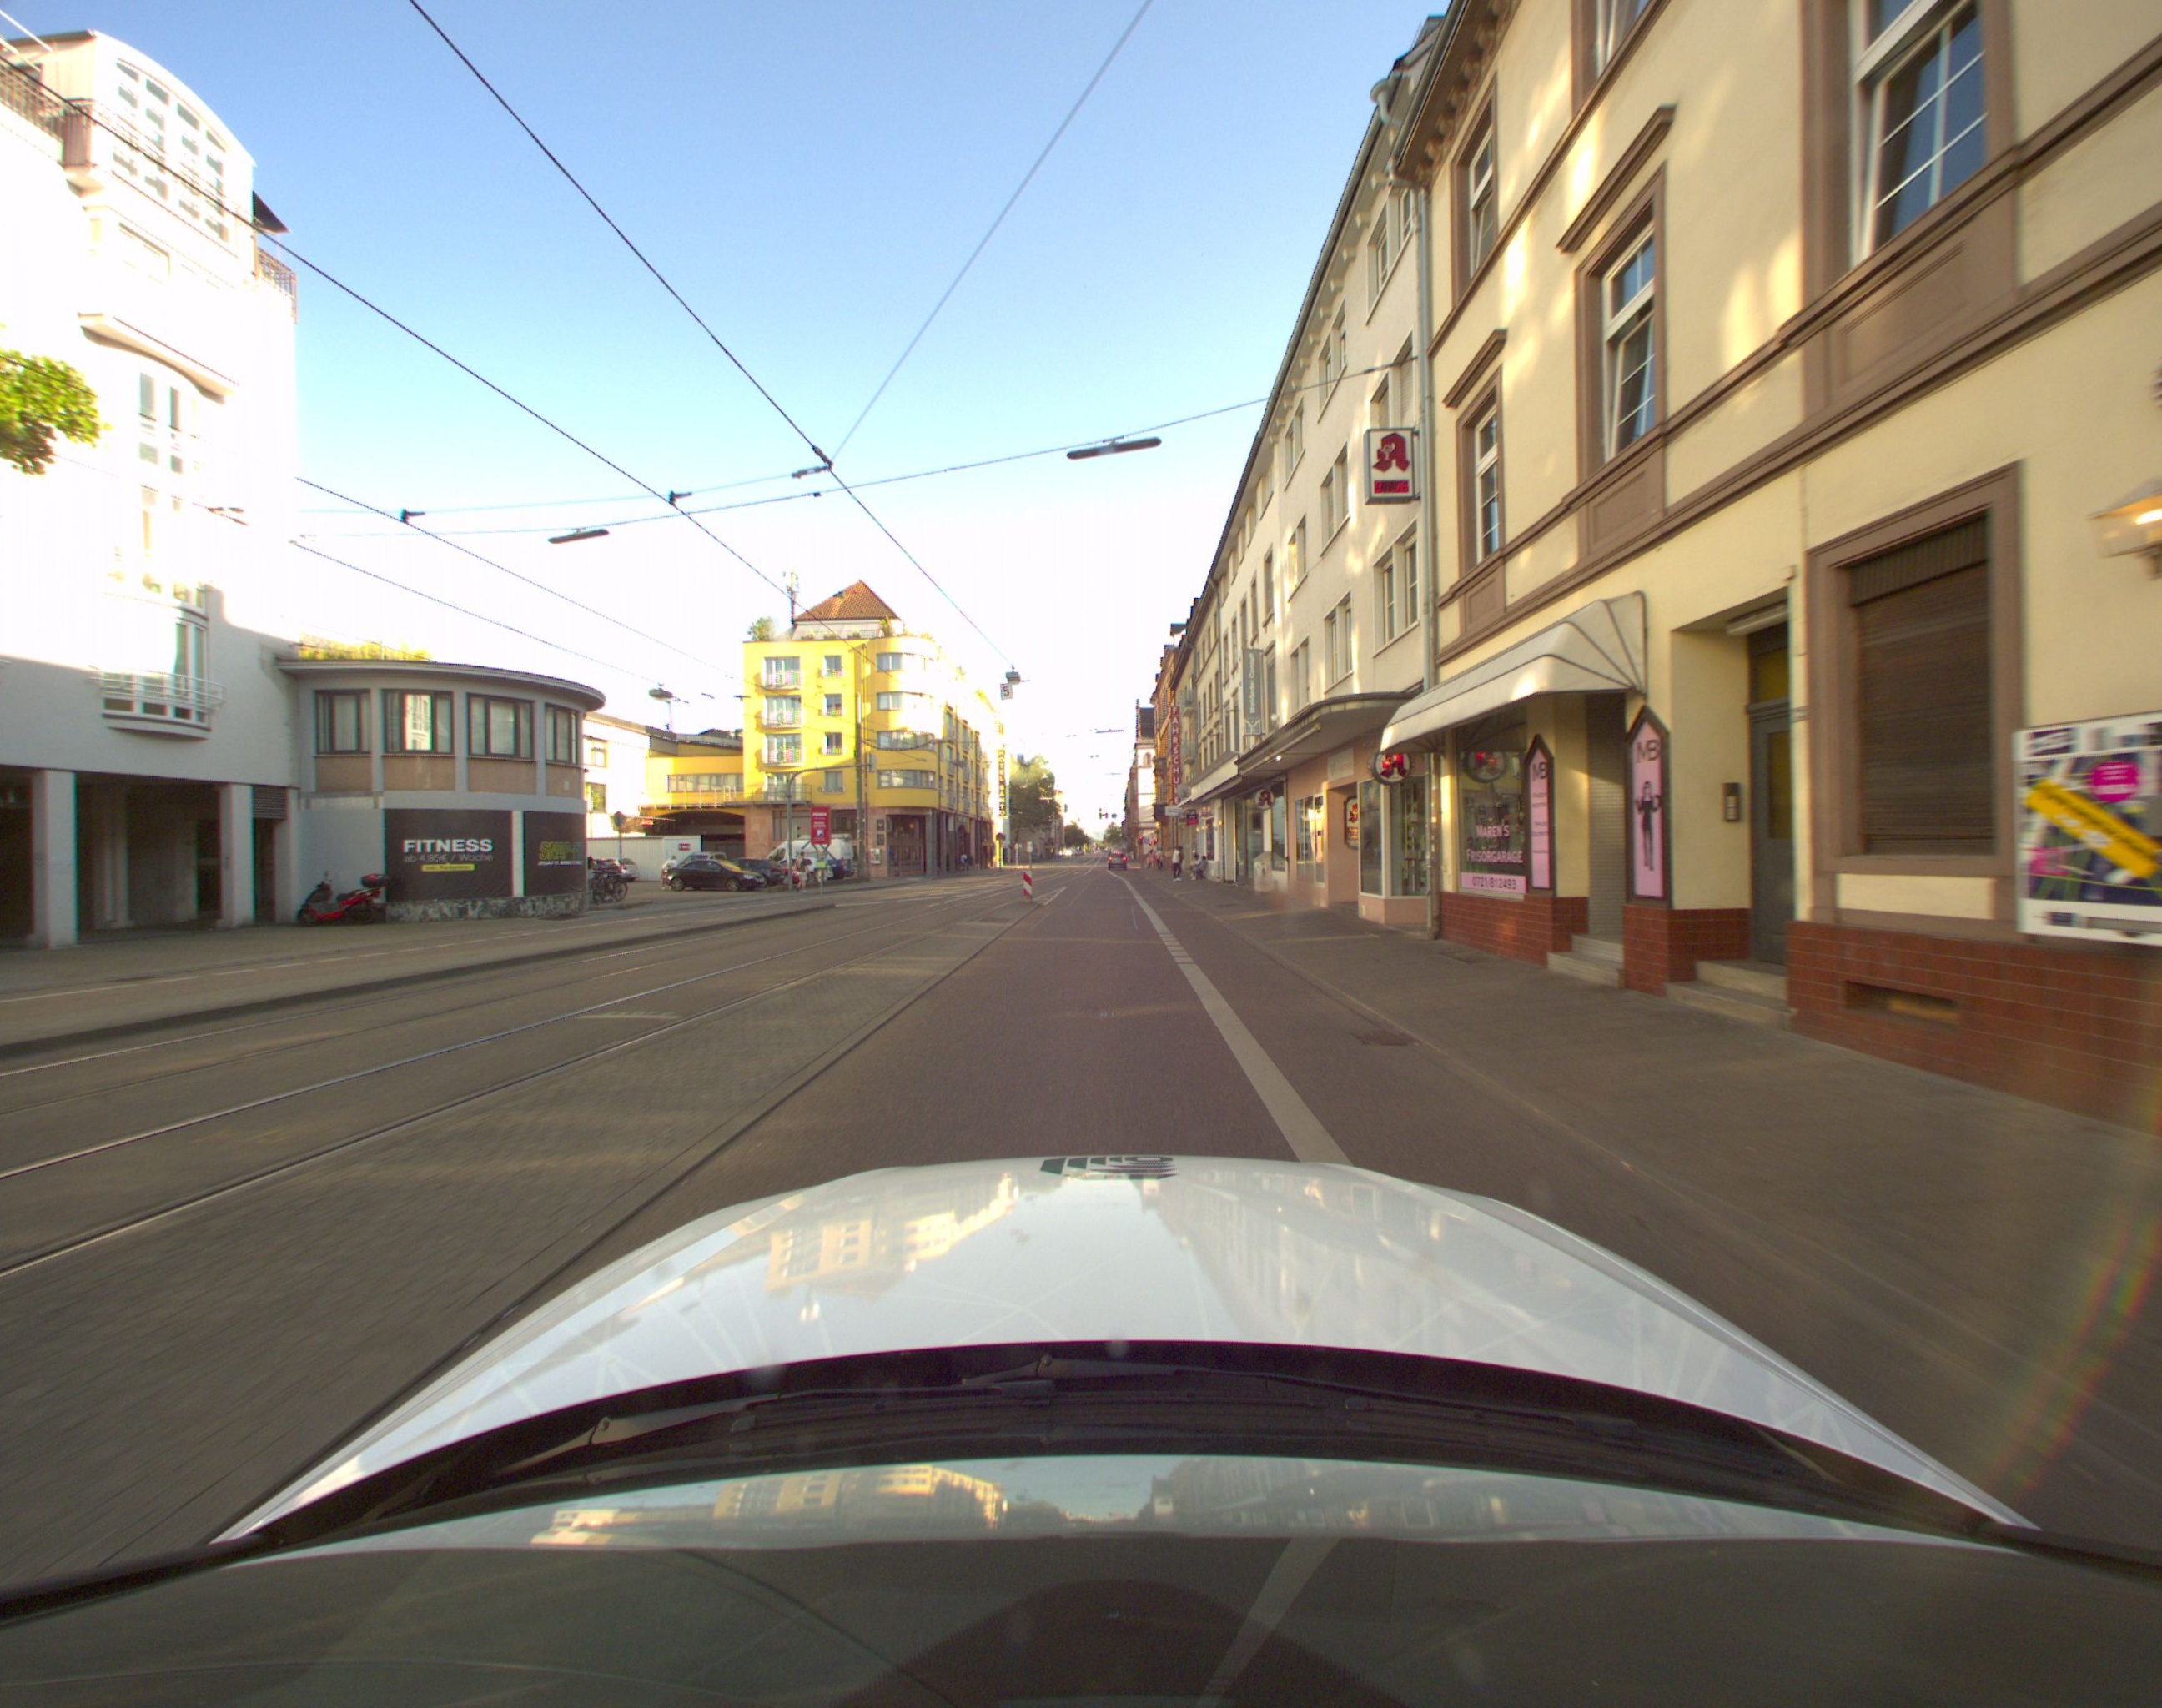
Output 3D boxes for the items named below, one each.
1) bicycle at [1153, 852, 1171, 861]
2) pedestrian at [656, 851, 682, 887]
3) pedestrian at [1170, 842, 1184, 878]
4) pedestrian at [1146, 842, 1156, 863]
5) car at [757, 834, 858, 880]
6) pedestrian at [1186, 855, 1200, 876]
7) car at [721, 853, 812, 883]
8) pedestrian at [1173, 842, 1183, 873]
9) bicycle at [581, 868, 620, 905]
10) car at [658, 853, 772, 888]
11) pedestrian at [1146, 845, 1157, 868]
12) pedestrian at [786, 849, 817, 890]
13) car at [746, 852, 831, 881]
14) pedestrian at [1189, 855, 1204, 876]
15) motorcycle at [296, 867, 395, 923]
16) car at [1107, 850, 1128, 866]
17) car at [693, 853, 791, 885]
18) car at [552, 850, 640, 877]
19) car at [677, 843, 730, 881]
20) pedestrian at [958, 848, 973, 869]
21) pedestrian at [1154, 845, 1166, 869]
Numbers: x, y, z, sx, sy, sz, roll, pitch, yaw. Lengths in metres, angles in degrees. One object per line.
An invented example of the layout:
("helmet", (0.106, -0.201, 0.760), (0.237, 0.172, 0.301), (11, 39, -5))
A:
("bicycle", (9.623, 0.341, 96.999), (1.917, 1.003, 0.758), (-1, 0, 19))
("pedestrian", (-18.904, 0.679, 37.348), (0.895, 1.652, 0.755), (0, 0, -41))
("pedestrian", (4.905, 0.292, 41.617), (0.645, 1.796, 0.562), (-1, 0, 6))
("pedestrian", (6.538, -0.161, 76.030), (0.840, 1.918, 0.847), (-1, 0, 0))
("car", (-15.817, 0.169, 47.214), (5.085, 2.575, 2.130), (0, 0, 2))
("pedestrian", (5.824, 0.591, 42.412), (0.687, 1.043, 0.681), (-1, 0, 6))
("car", (-16.199, 0.699, 42.109), (3.971, 1.510, 1.801), (0, 0, 2))
("pedestrian", (5.718, 0.225, 47.949), (0.556, 1.796, 0.652), (-1, 0, 8))
("bicycle", (-15.561, 1.044, 26.419), (0.498, 1.107, 1.794), (-1, 0, -10))
("car", (-16.510, 0.738, 36.834), (4.302, 1.510, 1.801), (0, 0, 2))
("pedestrian", (5.879, 0.239, 68.134), (0.840, 1.918, 0.661), (-1, 0, 0))
("pedestrian", (-12.418, 0.673, 36.206), (0.904, 1.815, 1.153), (0, 0, 3))
("car", (-15.974, 0.684, 44.637), (3.971, 1.510, 1.801), (0, 0, 2))
("pedestrian", (5.852, 0.588, 41.354), (0.687, 1.043, 0.681), (-1, 0, 6))
("motorcycle", (-18.255, 1.012, 20.236), (1.791, 1.298, 0.605), (2, 0, -5))
("car", (3.432, 0.353, 77.207), (1.986, 1.449, 4.002), (0, 0, 2))
("car", (-16.397, 0.713, 39.531), (3.971, 1.510, 1.801), (0, 0, 2))
("car", (-28.124, 0.543, 47.300), (3.971, 1.510, 1.801), (0, 0, 2))
("car", (-23.206, 0.466, 50.240), (1.792, 2.208, 3.991), (0, 0, -6))
("pedestrian", (-10.047, 0.391, 70.643), (0.902, 1.815, 1.156), (0, 0, 13))
("pedestrian", (6.155, 0.228, 63.621), (0.846, 1.918, 1.034), (-1, 0, 0))
